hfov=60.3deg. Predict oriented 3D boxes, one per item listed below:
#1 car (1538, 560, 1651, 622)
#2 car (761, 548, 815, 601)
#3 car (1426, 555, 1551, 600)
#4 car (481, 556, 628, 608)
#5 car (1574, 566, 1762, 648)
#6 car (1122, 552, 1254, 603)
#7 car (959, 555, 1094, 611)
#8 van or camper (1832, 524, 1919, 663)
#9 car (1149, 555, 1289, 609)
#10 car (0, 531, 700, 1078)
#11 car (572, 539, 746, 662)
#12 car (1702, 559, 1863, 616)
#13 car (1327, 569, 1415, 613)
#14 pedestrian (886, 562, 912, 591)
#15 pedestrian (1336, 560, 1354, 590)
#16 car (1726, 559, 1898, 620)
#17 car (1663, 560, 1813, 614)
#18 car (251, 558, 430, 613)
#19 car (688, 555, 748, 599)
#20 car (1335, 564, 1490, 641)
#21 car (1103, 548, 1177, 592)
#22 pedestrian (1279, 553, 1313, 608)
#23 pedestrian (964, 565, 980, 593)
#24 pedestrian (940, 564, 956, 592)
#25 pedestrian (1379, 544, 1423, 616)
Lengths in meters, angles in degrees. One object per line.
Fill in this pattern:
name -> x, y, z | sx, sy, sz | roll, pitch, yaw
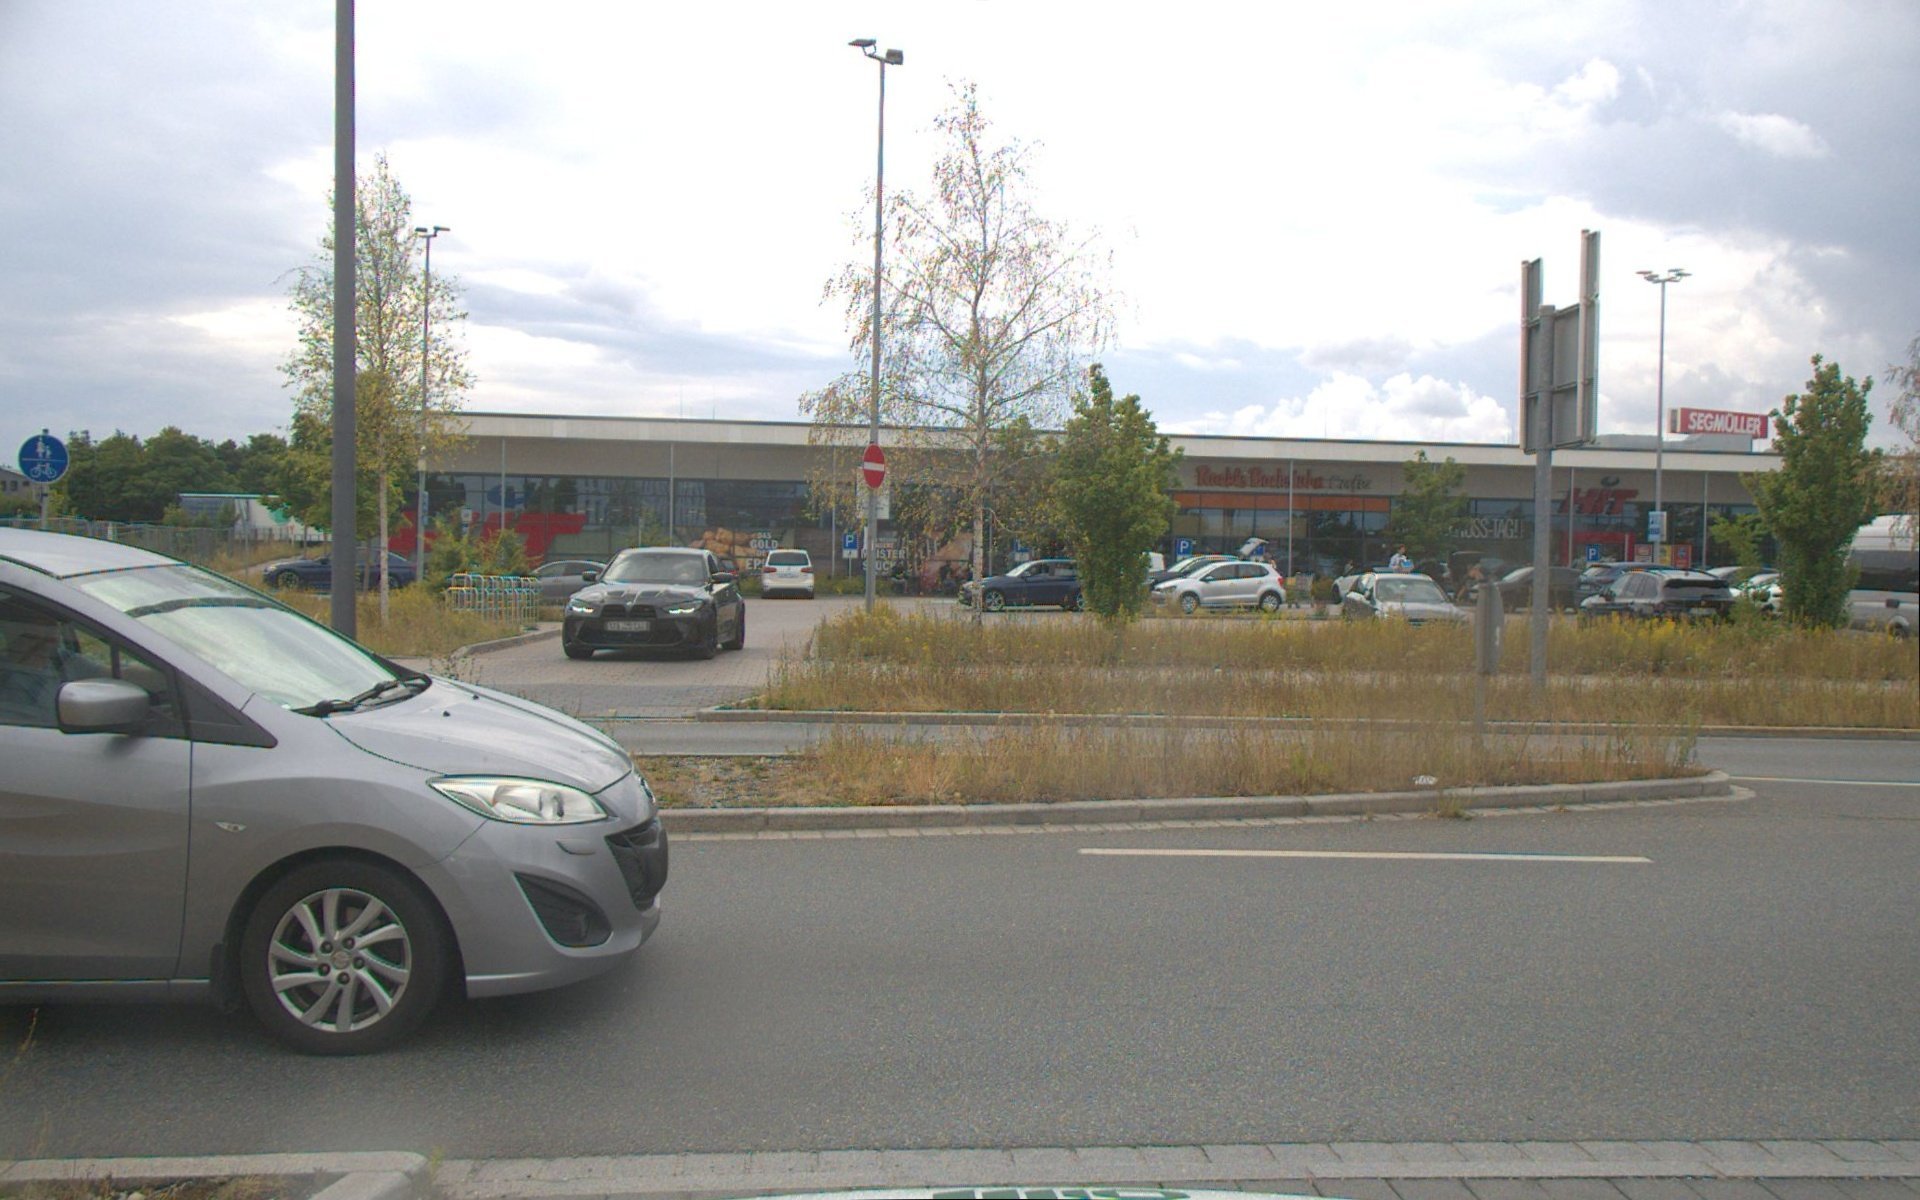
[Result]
car -> 18.301, -0.302, 47.888 | 1.777, 1.682, 4.001 | 1, 2, 1
car -> -6.044, -0.935, 58.546 | 1.788, 1.729, 4.230 | 1, 3, -5
car -> 19.401, -0.840, 60.793 | 3.910, 1.534, 1.998 | 1, 2, -7
car -> -11.465, -0.526, 47.014 | 3.915, 1.375, 1.995 | 1, 1, -10
car -> 13.967, 0.094, 32.913 | 1.948, 1.476, 4.150 | 1, 1, 0
car -> 6.972, -0.709, 50.689 | 3.676, 1.479, 1.665 | 1, 2, -8
car -> 1.840, -0.496, 46.596 | 3.540, 1.479, 1.665 | 1, 2, -9
van or camper -> 18.789, -0.127, 31.740 | 2.234, 2.535, 4.003 | 1, 1, 6
car -> 7.441, -0.536, 47.699 | 3.676, 1.479, 1.665 | 1, 2, -8
car -> -3.148, 0.573, 5.753 | 4.301, 1.590, 1.820 | 0, 3, -5
car -> -3.955, -0.033, 22.403 | 1.744, 1.471, 4.607 | 1, 1, -3
car -> 25.196, -0.396, 50.762 | 3.905, 1.646, 2.001 | 1, 2, 1
car -> 15.398, -0.357, 62.190 | 1.955, 1.534, 3.996 | 1, 2, -6
pedestrian -> -2.533, -0.985, 68.759 | 0.953, 1.174, 1.131 | 1, 2, -9
pedestrian -> 16.181, -1.048, 69.524 | 0.549, 1.222, 0.527 | 1, 1, -8
car -> 24.457, -0.328, 47.588 | 3.905, 1.646, 2.001 | 1, 2, 1
car -> 25.131, -0.442, 53.505 | 3.905, 1.646, 2.001 | 1, 2, 1
car -> -19.236, -0.472, 51.568 | 4.920, 1.585, 1.994 | 1, 1, -12
car -> -8.521, -0.824, 58.505 | 1.869, 1.469, 3.996 | 1, 2, -5
car -> 8.971, 0.010, 33.148 | 1.948, 1.408, 4.150 | 1, 1, 0
car -> 6.596, -1.143, 60.996 | 1.955, 1.534, 3.996 | 1, 2, -5
pedestrian -> 10.331, -0.603, 50.847 | 0.805, 1.660, 0.899 | 1, 1, -3
pedestrian -> 0.498, -0.870, 67.752 | 0.566, 1.143, 0.560 | 0, 1, -11
pedestrian -> -0.512, -0.909, 68.622 | 0.566, 1.143, 0.560 | 0, 1, -11
pedestrian -> 12.743, -0.575, 47.819 | 0.850, 2.048, 1.000 | 1, 2, -13
